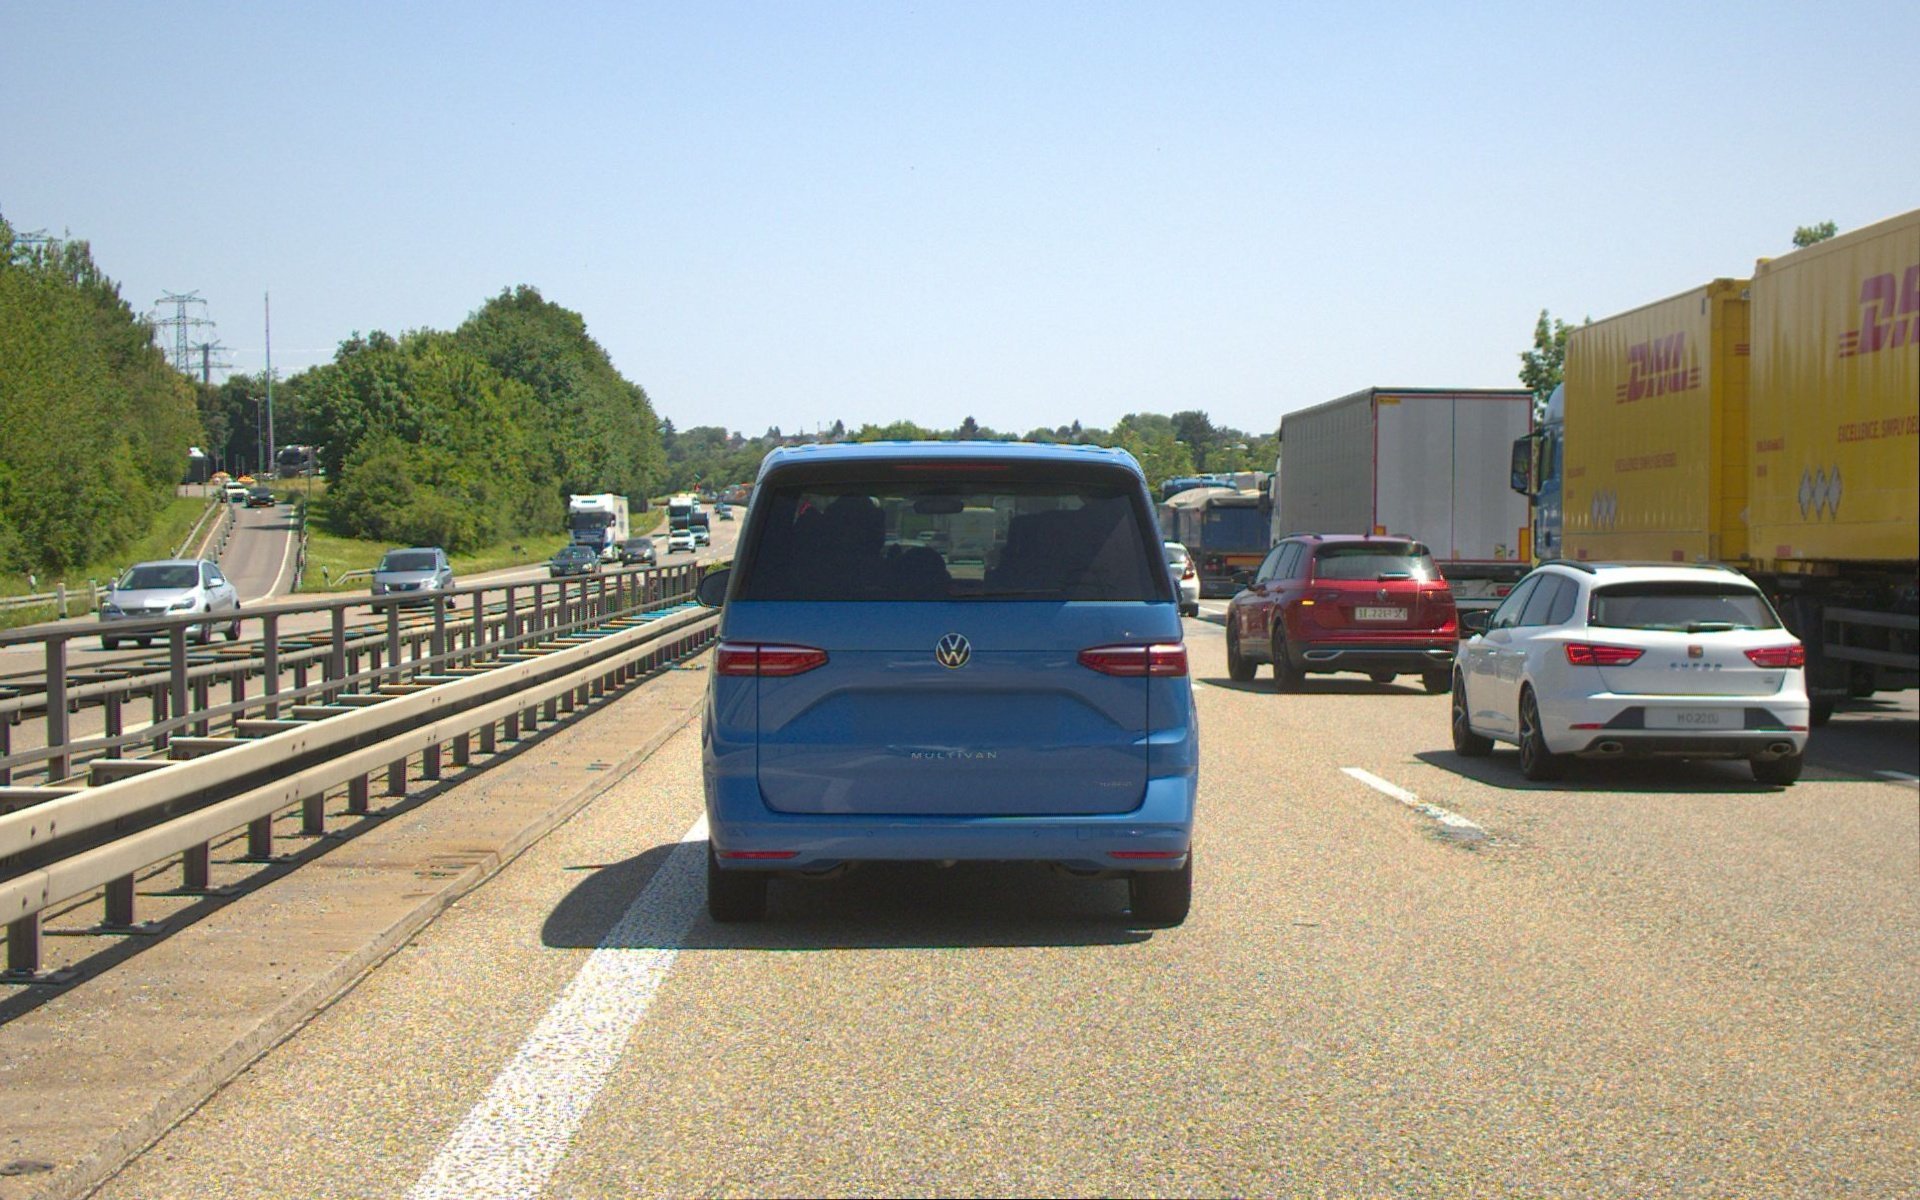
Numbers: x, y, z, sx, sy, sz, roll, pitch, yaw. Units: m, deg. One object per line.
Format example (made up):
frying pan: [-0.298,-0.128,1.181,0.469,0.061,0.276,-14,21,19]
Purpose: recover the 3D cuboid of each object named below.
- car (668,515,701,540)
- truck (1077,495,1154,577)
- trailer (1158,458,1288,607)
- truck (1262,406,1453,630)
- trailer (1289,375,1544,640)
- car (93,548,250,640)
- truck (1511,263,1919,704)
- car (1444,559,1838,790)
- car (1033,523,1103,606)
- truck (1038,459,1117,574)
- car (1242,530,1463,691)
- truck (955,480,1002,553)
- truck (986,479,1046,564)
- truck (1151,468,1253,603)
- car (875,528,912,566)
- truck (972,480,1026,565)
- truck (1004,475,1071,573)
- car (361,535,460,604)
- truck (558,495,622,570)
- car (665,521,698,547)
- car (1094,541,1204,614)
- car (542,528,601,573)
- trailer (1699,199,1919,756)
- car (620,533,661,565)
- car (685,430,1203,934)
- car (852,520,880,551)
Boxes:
car: [-19.227,-5.068,240.024,1.922,1.683,4.122,-3,1,-1]
truck: [6.278,-2.564,140.083,2.355,3.207,9.742,1,1,-2]
trailer: [6.981,-1.769,92.613,2.379,3.731,11.189,1,1,-1]
truck: [7.633,-1.548,66.872,2.768,4.081,6.984,1,1,-1]
trailer: [7.730,-1.514,59.839,2.755,4.132,11.312,1,1,-1]
car: [-13.519,-0.130,59.138,1.715,1.429,4.176,-3,1,-1]
truck: [8.166,-1.124,36.912,2.722,4.040,10.336,1,1,0]
car: [4.465,0.435,23.147,1.781,1.382,4.188,0,1,0]
car: [2.675,-0.882,85.995,1.583,2.007,3.493,1,1,-1]
truck: [5.312,-3.733,157.307,2.833,5.023,11.147,1,1,-2]
car: [4.098,0.069,36.428,1.851,1.603,4.000,0,1,0]
truck: [1.304,-5.908,247.129,2.833,5.023,12.914,1,1,-2]
truck: [3.299,-4.598,204.584,2.833,4.869,13.221,1,1,-2]
truck: [6.883,-1.821,98.429,2.367,3.709,6.034,1,1,-1]
car: [-3.623,-2.872,187.292,1.993,2.007,4.000,1,1,-1]
truck: [2.496,-4.934,222.640,2.833,5.354,12.556,1,1,-2]
truck: [4.084,-4.004,183.290,2.833,5.023,11.818,1,1,-2]
car: [-13.962,-0.789,87.557,1.829,1.604,4.169,-4,1,-1]
truck: [-21.806,-3.988,202.941,2.989,4.264,7.189,-1,1,-1]
car: [-19.392,-4.603,239.583,1.922,1.683,4.122,-3,1,-1]
car: [3.770,-0.470,69.178,1.838,1.409,4.001,0,1,-2]
car: [-14.974,-1.928,132.656,1.829,1.604,4.169,-3,1,-1]
trailer: [8.233,-0.897,27.254,2.701,4.010,8.931,1,1,0]
car: [-17.015,-2.719,183.014,1.829,1.604,4.169,-1,1,-1]
car: [-0.074,0.261,14.492,1.882,1.831,4.000,0,1,0]
car: [-5.966,-4.095,218.301,1.739,1.904,3.681,1,1,-1]
